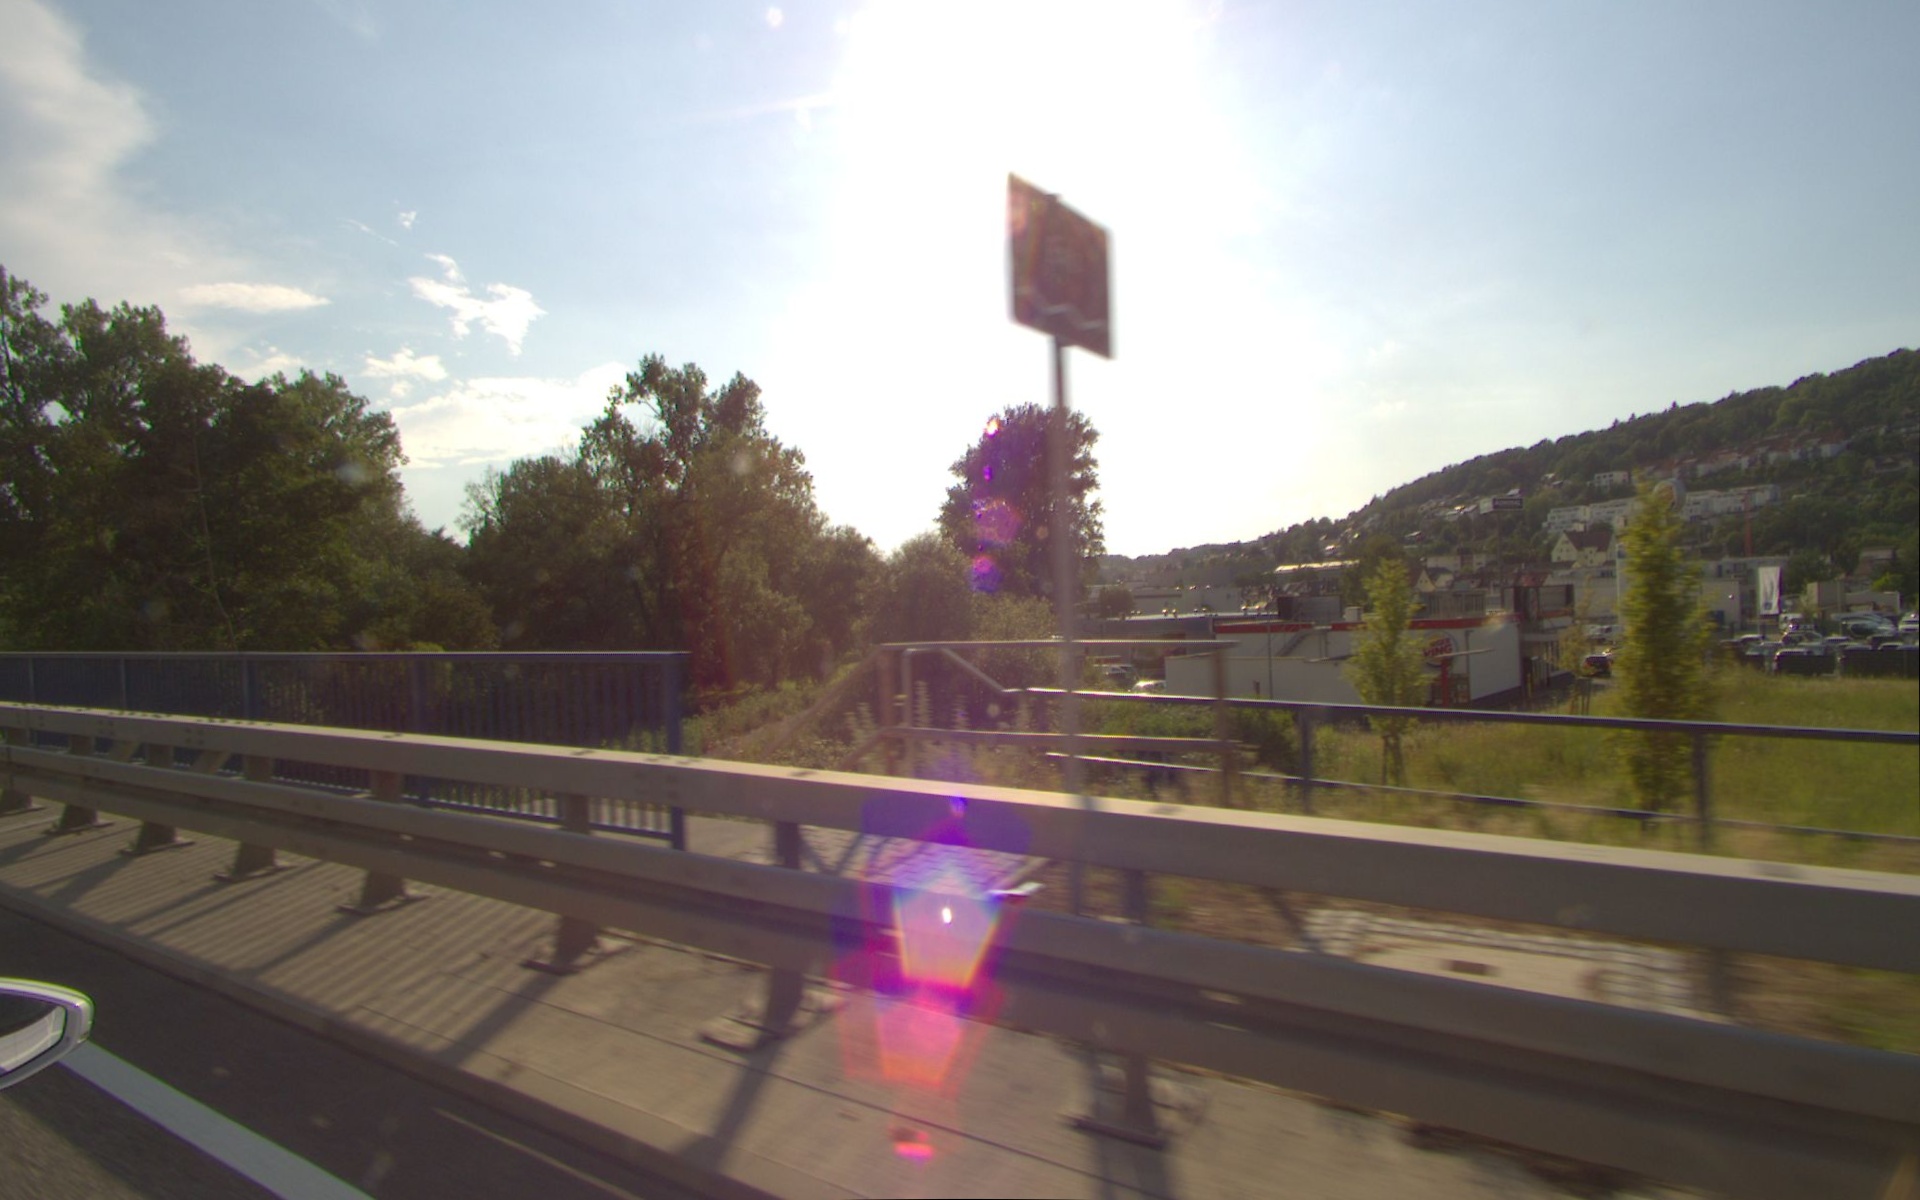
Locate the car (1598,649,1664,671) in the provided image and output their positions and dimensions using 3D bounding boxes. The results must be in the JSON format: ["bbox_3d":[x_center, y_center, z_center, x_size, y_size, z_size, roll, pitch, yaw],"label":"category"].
[{"bbox_3d":[50.464,4.517,75.311,1.732,1.597,3.752,1,-3,-38],"label":"car"}]
